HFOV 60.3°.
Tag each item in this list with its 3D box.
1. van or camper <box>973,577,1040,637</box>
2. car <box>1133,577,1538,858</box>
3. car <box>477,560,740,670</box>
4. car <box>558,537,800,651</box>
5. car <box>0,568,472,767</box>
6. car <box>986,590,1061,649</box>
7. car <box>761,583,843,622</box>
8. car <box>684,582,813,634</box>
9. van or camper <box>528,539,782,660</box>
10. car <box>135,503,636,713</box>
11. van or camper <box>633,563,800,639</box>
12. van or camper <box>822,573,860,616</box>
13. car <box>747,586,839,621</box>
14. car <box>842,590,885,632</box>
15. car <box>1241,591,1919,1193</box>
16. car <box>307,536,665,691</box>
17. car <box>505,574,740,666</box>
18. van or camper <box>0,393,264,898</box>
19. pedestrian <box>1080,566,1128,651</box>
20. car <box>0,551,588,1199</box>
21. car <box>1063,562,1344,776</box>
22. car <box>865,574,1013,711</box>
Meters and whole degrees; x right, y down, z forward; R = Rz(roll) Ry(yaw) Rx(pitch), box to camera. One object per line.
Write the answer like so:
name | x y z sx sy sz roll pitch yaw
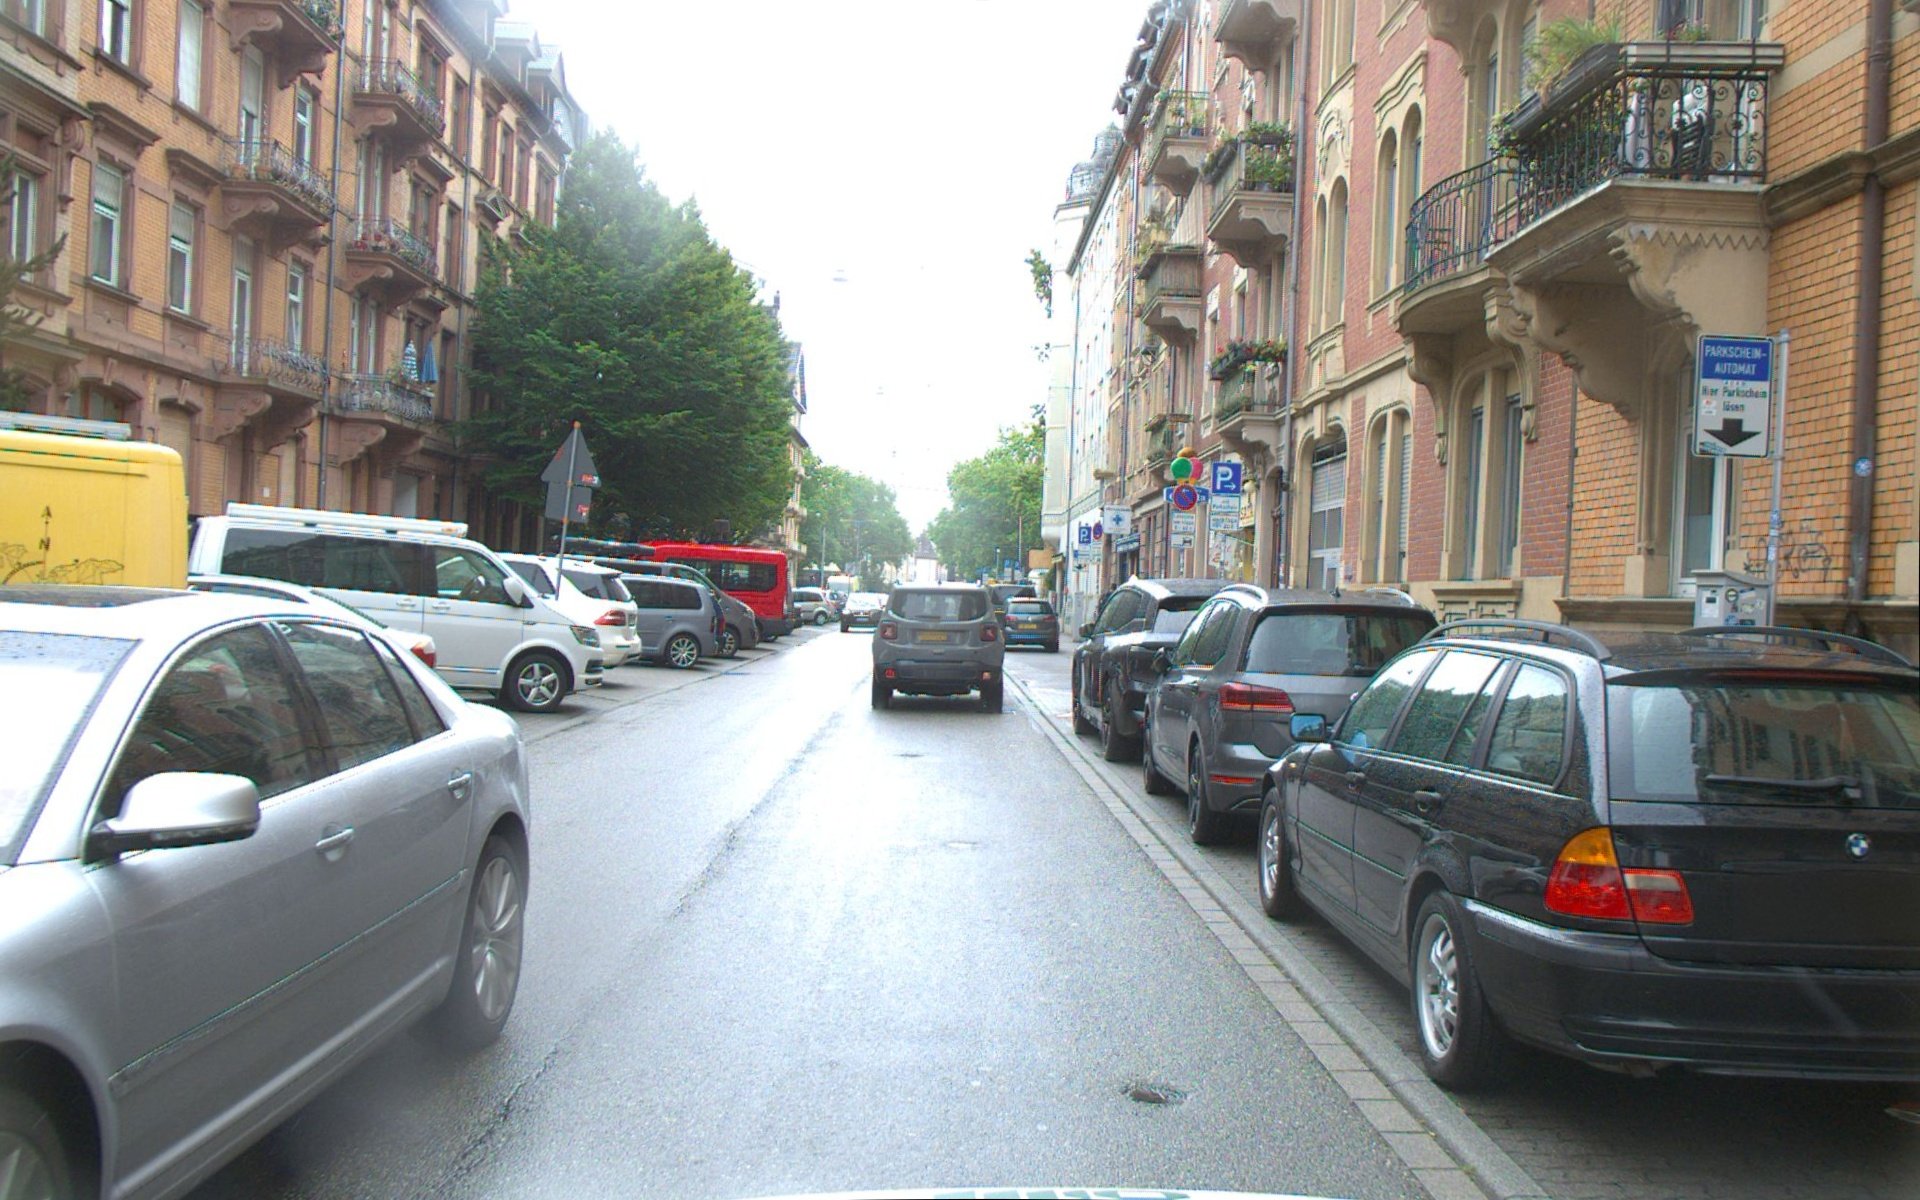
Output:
van or camper | 1.536 0.221 56.316 1.980 1.924 5.053 1 0 -1
car | 2.384 0.663 11.661 1.833 1.589 4.344 1 0 0
car | -6.521 0.293 30.726 4.379 1.658 1.828 5 0 -28
car | -7.004 -0.124 41.417 5.493 2.585 2.208 2 0 -29
car | -6.257 0.536 13.683 3.944 1.461 1.767 2 0 -30
car | 1.769 0.527 46.881 1.804 1.572 4.002 1 0 -2
car | -7.175 0.114 75.048 3.346 1.683 1.615 1 0 -34
car | -7.044 0.284 55.367 3.944 1.472 1.741 4 0 -42
van or camper | -6.660 0.005 36.147 4.950 2.390 2.324 2 0 -28
car | -6.538 0.151 19.047 5.171 2.114 1.855 3 -1 -26
van or camper | -6.994 0.047 47.644 4.395 2.010 1.760 2 0 -35
van or camper | -7.820 -0.318 108.822 2.078 2.575 6.872 -2 -2 -1
car | -7.265 0.175 72.166 3.673 1.477 1.664 1 0 -37
car | -3.847 0.432 66.035 1.636 1.586 4.001 2 0 -3
car | 2.376 0.753 6.433 1.750 1.492 4.483 2 0 0
car | -6.872 0.188 24.491 4.487 1.816 2.544 5 0 -2
car | -6.767 0.410 33.172 4.285 1.530 1.742 4 0 -24
van or camper | -6.017 0.083 7.742 4.669 2.307 2.160 4 0 -34
pedestrian | 3.579 0.211 41.139 0.667 1.967 0.808 0 -14 34
car | -2.339 0.649 3.955 1.758 1.520 4.583 2 1 1
car | 2.266 0.601 16.787 1.953 1.810 4.824 1 0 -2
car | -0.345 0.543 23.400 1.860 1.700 4.504 1 0 -2
